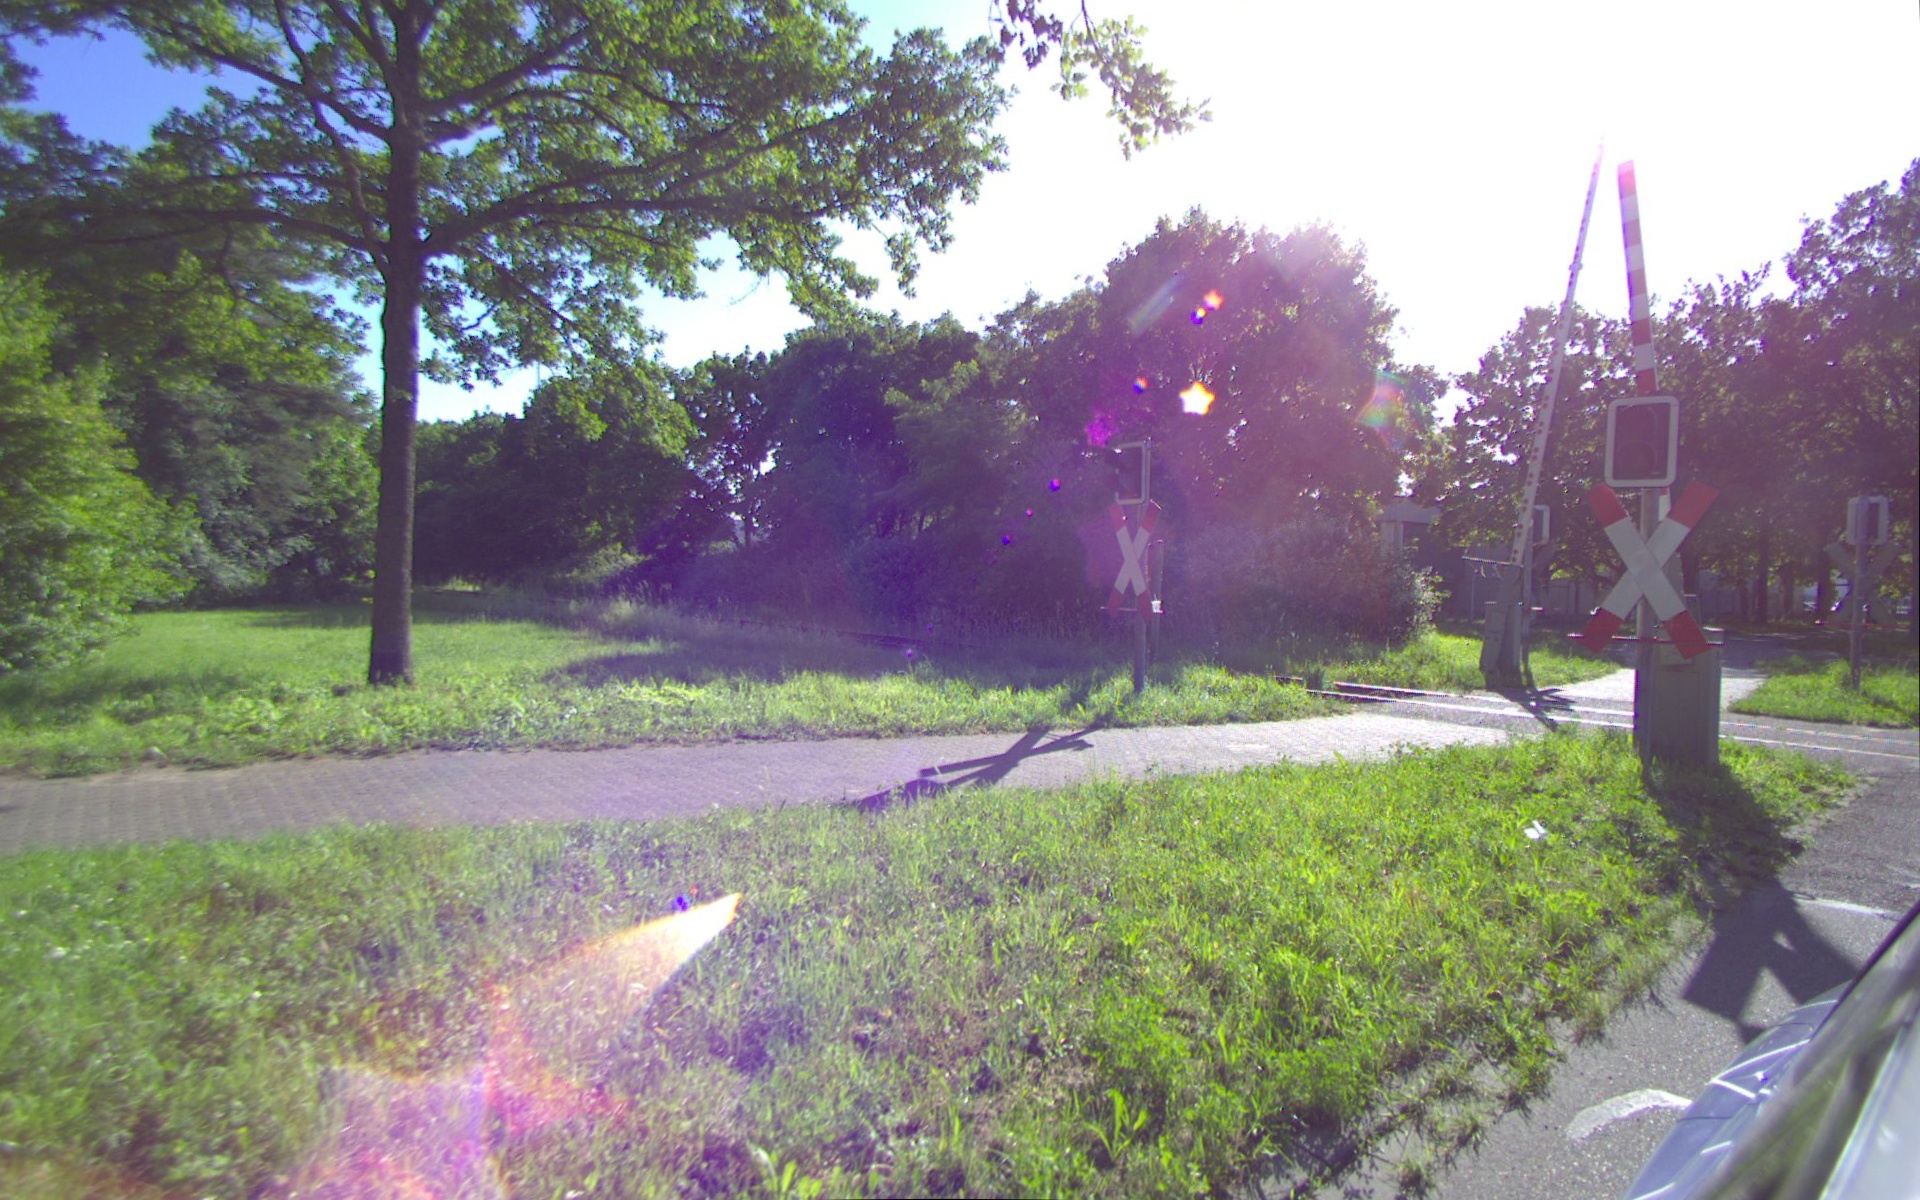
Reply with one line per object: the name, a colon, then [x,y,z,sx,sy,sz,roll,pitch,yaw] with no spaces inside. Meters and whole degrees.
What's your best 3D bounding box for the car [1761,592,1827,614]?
car: [88.717,0.296,107.700,1.861,1.983,5.077,0,3,-39]
